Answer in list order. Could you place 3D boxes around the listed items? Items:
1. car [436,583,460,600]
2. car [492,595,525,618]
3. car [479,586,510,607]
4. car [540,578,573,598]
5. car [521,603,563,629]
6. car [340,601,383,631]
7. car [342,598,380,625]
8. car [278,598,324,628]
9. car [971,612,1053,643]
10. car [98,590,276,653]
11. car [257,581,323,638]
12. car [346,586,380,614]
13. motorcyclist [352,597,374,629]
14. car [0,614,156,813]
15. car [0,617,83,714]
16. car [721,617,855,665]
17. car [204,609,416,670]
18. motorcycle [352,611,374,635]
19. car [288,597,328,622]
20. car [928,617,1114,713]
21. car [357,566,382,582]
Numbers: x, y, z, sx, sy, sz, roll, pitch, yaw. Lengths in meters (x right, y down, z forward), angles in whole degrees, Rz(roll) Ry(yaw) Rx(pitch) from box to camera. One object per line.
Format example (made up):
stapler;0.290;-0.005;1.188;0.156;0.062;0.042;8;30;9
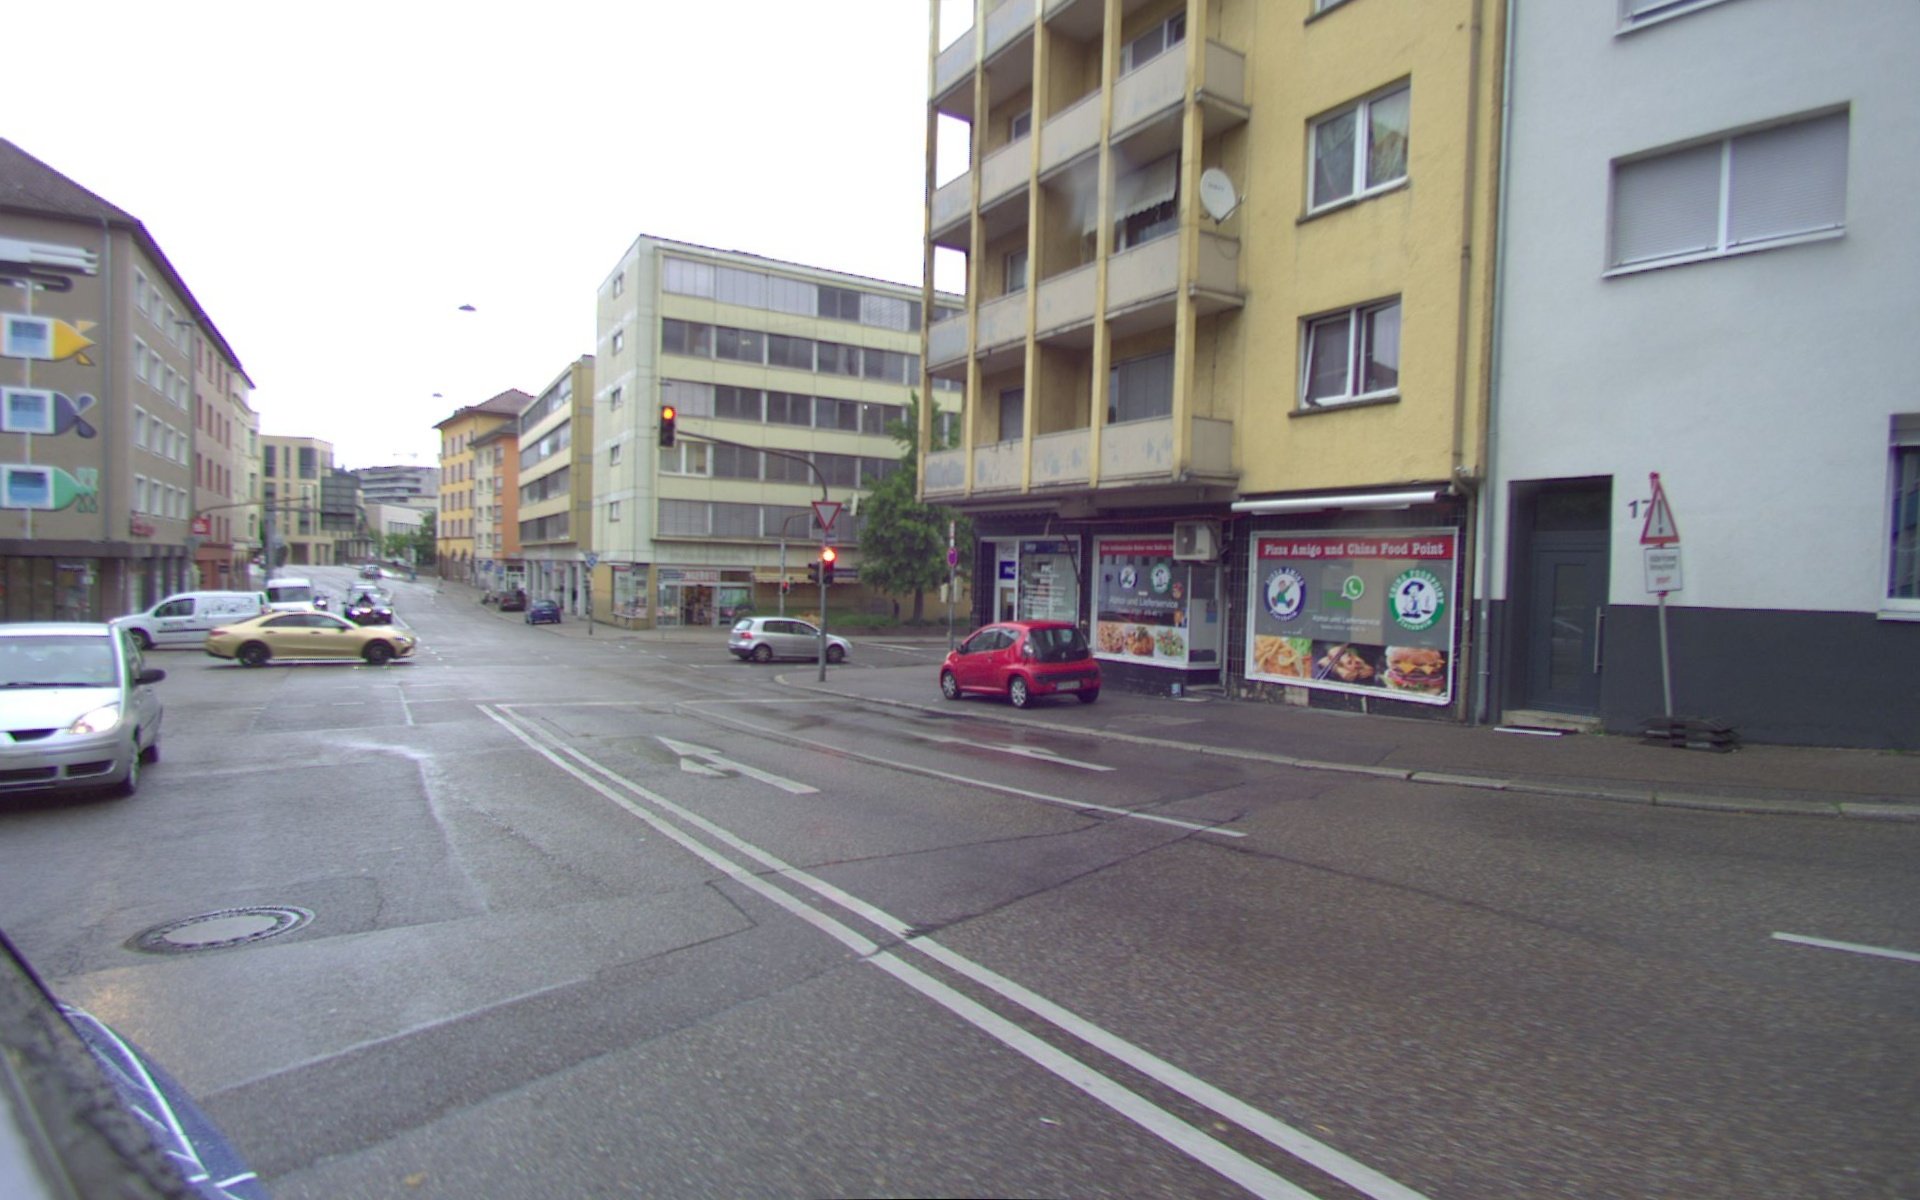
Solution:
car;-49.578;-0.820;97.922;1.819;1.579;4.383;-2;1;-30
car;-33.562;0.440;75.201;1.819;1.579;4.383;-2;1;-30
car;-37.254;-0.292;80.918;1.819;1.579;4.383;-2;1;-30
car;-33.108;-0.973;83.042;1.819;1.579;4.382;-2;1;-30
car;-24.787;0.934;59.904;1.819;1.430;3.580;-2;1;-30
car;-31.096;0.809;52.693;1.819;1.430;3.580;-2;1;-30
car;-34.879;0.649;59.009;1.819;1.430;3.580;-2;1;-30
car;-35.759;0.684;55.012;1.819;1.489;3.580;-2;1;-30
car;2.712;1.436;52.717;3.824;1.437;1.731;1;2;-25
car;-24.133;0.677;31.807;4.158;1.869;1.998;1;-1;-28
car;-32.029;0.402;48.520;2.195;2.543;5.488;-2;1;-30
car;-39.902;-0.005;67.731;1.819;1.727;3.580;-2;1;-30
motorcyclist;-28.432;0.615;48.213;0.864;1.490;0.799;1;0;-30
car;-8.640;0.947;9.439;1.660;1.516;3.847;-2;0;-37
car;-17.618;1.102;17.212;4.453;1.516;1.682;-1;1;11
car;-5.667;1.335;33.434;3.967;1.435;1.693;1;1;-31
car;-16.905;1.016;26.586;4.503;1.452;1.997;1;-1;-31
motorcycle;-28.378;1.078;48.111;0.864;1.108;1.806;1;0;-30
car;-39.143;0.544;60.822;1.819;1.430;3.580;-2;1;-30
car;0.997;1.087;18.339;1.587;1.475;3.544;-2;0;-31
car;-67.402;-2.944;115.490;1.821;1.721;4.378;1;2;-39
